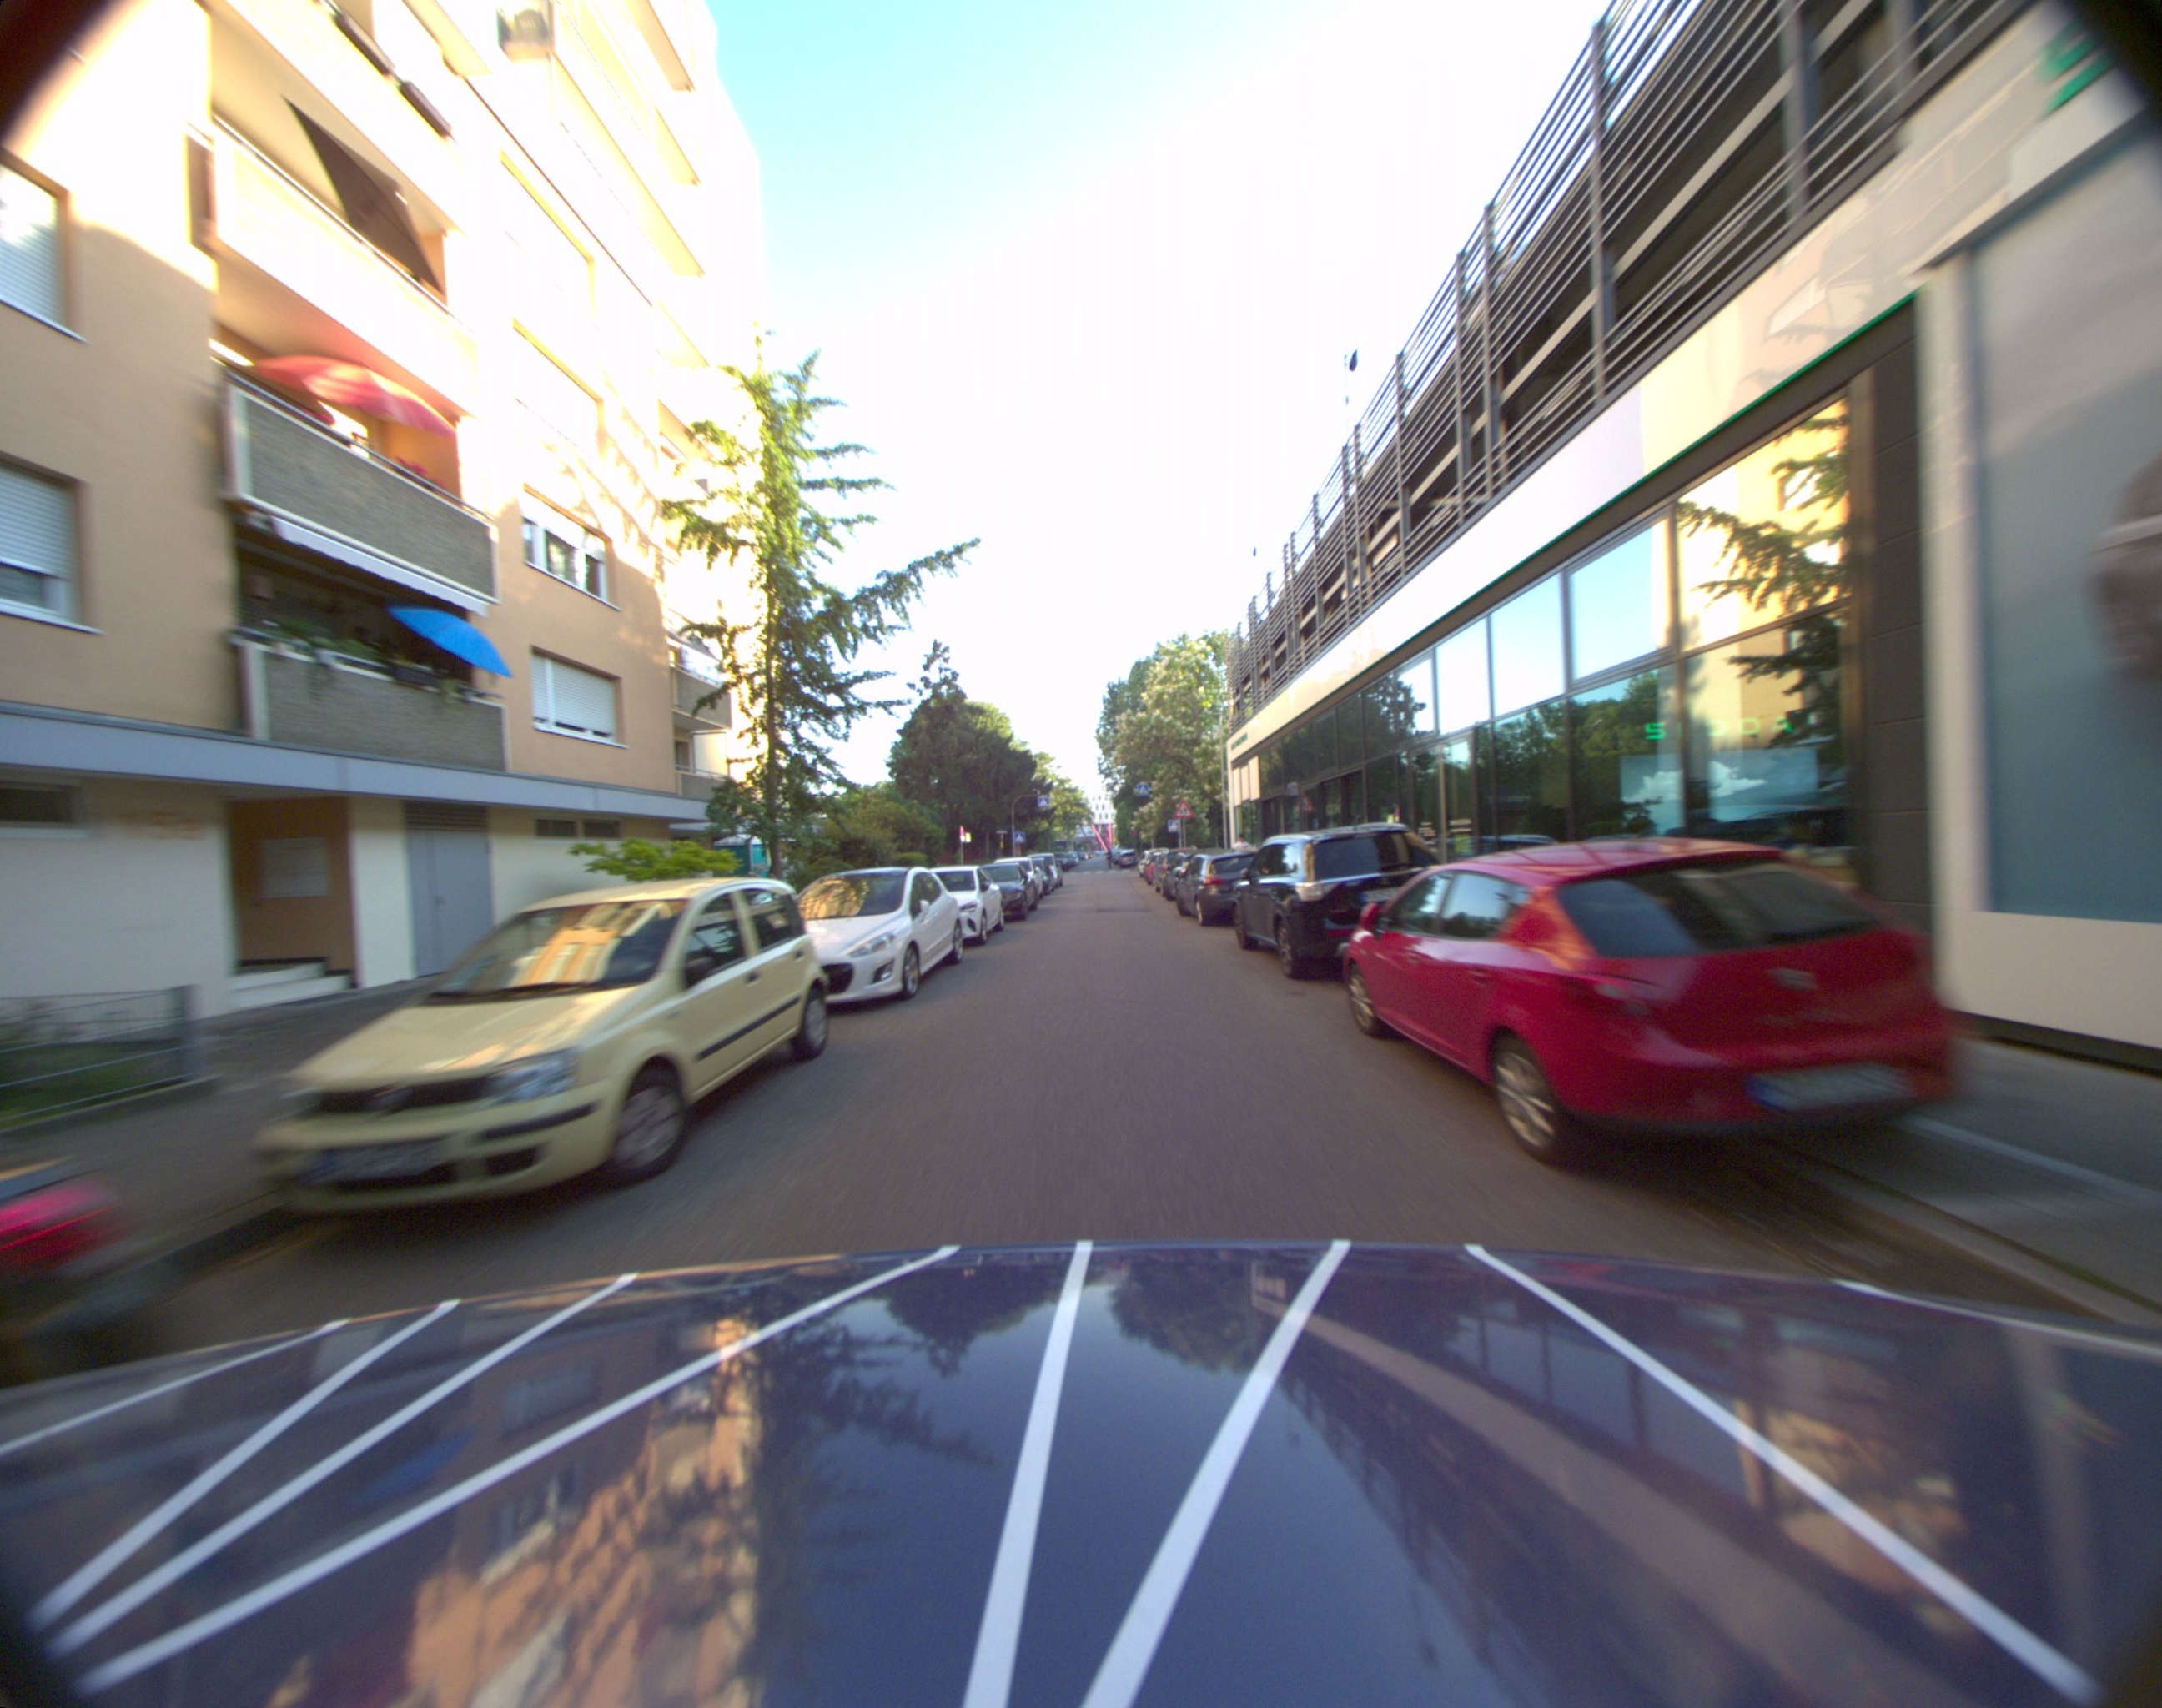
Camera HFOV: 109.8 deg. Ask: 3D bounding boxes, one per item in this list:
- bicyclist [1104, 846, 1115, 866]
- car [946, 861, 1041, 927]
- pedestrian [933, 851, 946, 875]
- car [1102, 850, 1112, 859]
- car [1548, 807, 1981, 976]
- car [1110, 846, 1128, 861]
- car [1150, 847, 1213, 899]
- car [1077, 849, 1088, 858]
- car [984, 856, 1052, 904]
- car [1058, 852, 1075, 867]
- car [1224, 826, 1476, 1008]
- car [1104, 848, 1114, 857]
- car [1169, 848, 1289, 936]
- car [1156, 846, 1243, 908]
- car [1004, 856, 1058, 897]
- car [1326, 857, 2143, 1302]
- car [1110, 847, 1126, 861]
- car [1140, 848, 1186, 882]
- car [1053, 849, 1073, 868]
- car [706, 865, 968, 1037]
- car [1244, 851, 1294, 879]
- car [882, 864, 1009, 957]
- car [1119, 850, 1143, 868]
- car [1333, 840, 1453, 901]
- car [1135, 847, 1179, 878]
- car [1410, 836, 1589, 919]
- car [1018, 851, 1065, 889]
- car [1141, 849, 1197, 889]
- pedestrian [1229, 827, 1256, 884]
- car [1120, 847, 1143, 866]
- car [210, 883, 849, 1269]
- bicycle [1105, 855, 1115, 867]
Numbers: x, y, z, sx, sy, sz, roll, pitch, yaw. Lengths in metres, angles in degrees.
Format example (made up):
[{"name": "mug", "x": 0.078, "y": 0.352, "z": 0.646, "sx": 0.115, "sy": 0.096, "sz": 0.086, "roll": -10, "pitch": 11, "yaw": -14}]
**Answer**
[{"name": "bicyclist", "x": 2.645, "y": 0.153, "z": 69.792, "sx": 0.861, "sy": 1.797, "sz": 1.016, "roll": -2, "pitch": 0, "yaw": -4}, {"name": "car", "x": -2.149, "y": 0.948, "z": 19.894, "sx": 1.814, "sy": 1.408, "sz": 4.625, "roll": -2, "pitch": 0, "yaw": 1}, {"name": "pedestrian", "x": -10.390, "y": 0.651, "z": 55.831, "sx": 0.826, "sy": 1.716, "sz": 0.860, "roll": 1, "pitch": 1, "yaw": -18}, {"name": "car", "x": 5.256, "y": 0.052, "z": 153.786, "sx": 1.786, "sy": 1.772, "sz": 4.012, "roll": -4, "pitch": 0, "yaw": -1}, {"name": "car", "x": 8.295, "y": 0.385, "z": 9.920, "sx": 1.701, "sy": 1.649, "sz": 4.410, "roll": -2, "pitch": 0, "yaw": 1}, {"name": "car", "x": 4.536, "y": -0.045, "z": 91.008, "sx": 1.786, "sy": 1.562, "sz": 3.884, "roll": -8, "pitch": 0, "yaw": -1}, {"name": "car", "x": 3.418, "y": 0.608, "z": 26.472, "sx": 1.665, "sy": 1.488, "sz": 3.885, "roll": -8, "pitch": 0, "yaw": 2}, {"name": "car", "x": 0.306, "y": -0.005, "z": 159.767, "sx": 1.999, "sy": 1.739, "sz": 3.999, "roll": -4, "pitch": 0, "yaw": -1}, {"name": "car", "x": -2.055, "y": 0.830, "z": 25.705, "sx": 1.814, "sy": 1.408, "sz": 3.896, "roll": -2, "pitch": 0, "yaw": 2}, {"name": "car", "x": -1.590, "y": 0.590, "z": 82.546, "sx": 1.786, "sy": 1.491, "sz": 3.884, "roll": 1, "pitch": 0, "yaw": -1}, {"name": "car", "x": 3.100, "y": 0.627, "z": 9.784, "sx": 1.701, "sy": 1.746, "sz": 4.403, "roll": -2, "pitch": 0, "yaw": 1}, {"name": "car", "x": 6.307, "y": -0.415, "z": 170.963, "sx": 1.786, "sy": 1.772, "sz": 4.012, "roll": -8, "pitch": 0, "yaw": -1}, {"name": "car", "x": 3.043, "y": 0.740, "z": 16.543, "sx": 1.941, "sy": 1.587, "sz": 4.206, "roll": -3, "pitch": 0, "yaw": 3}, {"name": "car", "x": 3.306, "y": 0.596, "z": 21.887, "sx": 1.733, "sy": 1.394, "sz": 4.006, "roll": -8, "pitch": 0, "yaw": 0}, {"name": "car", "x": -1.903, "y": 0.837, "z": 30.155, "sx": 1.721, "sy": 1.411, "sz": 4.028, "roll": -2, "pitch": 0, "yaw": 1}, {"name": "car", "x": 2.909, "y": 0.814, "z": 4.575, "sx": 1.701, "sy": 1.497, "sz": 3.791, "roll": -2, "pitch": 0, "yaw": 2}, {"name": "car", "x": 5.762, "y": -0.029, "z": 117.431, "sx": 1.964, "sy": 1.825, "sz": 3.884, "roll": -8, "pitch": 0, "yaw": -1}, {"name": "car", "x": 4.053, "y": 0.538, "z": 38.221, "sx": 1.666, "sy": 1.407, "sz": 4.414, "roll": -8, "pitch": 0, "yaw": 0}, {"name": "car", "x": -1.697, "y": 0.394, "z": 70.918, "sx": 1.786, "sy": 1.743, "sz": 3.884, "roll": 0, "pitch": 0, "yaw": -1}, {"name": "car", "x": -2.714, "y": 0.984, "z": 9.554, "sx": 1.796, "sy": 1.553, "sz": 4.194, "roll": -2, "pitch": 0, "yaw": 1}, {"name": "car", "x": 9.271, "y": 0.529, "z": 37.720, "sx": 1.597, "sy": 1.286, "sz": 3.451, "roll": -2, "pitch": 0, "yaw": 0}, {"name": "car", "x": -2.471, "y": 0.984, "z": 14.842, "sx": 1.613, "sy": 1.453, "sz": 4.054, "roll": -2, "pitch": 0, "yaw": 1}, {"name": "car", "x": 4.636, "y": 0.475, "z": 70.797, "sx": 1.786, "sy": 1.442, "sz": 3.884, "roll": -8, "pitch": 0, "yaw": -1}, {"name": "car", "x": 8.677, "y": 0.425, "z": 21.526, "sx": 1.701, "sy": 1.506, "sz": 4.192, "roll": -2, "pitch": 0, "yaw": 1}, {"name": "car", "x": 4.245, "y": 0.480, "z": 42.770, "sx": 1.666, "sy": 1.505, "sz": 3.883, "roll": -6, "pitch": 0, "yaw": -4}, {"name": "car", "x": 8.806, "y": 0.439, "z": 16.420, "sx": 1.701, "sy": 1.506, "sz": 3.994, "roll": -2, "pitch": 0, "yaw": 2}, {"name": "car", "x": -1.760, "y": 0.708, "z": 34.885, "sx": 1.814, "sy": 1.566, "sz": 3.885, "roll": -2, "pitch": 0, "yaw": 1}, {"name": "car", "x": 3.711, "y": 0.611, "z": 32.591, "sx": 1.666, "sy": 1.402, "sz": 3.926, "roll": -8, "pitch": 0, "yaw": -2}, {"name": "pedestrian", "x": 5.487, "y": 0.051, "z": 25.797, "sx": 0.722, "sy": 1.867, "sz": 0.620, "roll": -3, "pitch": 0, "yaw": 2}, {"name": "car", "x": 5.011, "y": 0.235, "z": 75.522, "sx": 1.786, "sy": 1.568, "sz": 3.884, "roll": -8, "pitch": 0, "yaw": -1}, {"name": "car", "x": -2.952, "y": 1.044, "z": 5.070, "sx": 1.613, "sy": 1.502, "sz": 3.478, "roll": -2, "pitch": 0, "yaw": 1}, {"name": "bicycle", "x": 2.664, "y": 0.636, "z": 69.810, "sx": 0.761, "sy": 1.090, "sz": 1.863, "roll": -1, "pitch": 0, "yaw": -4}]
